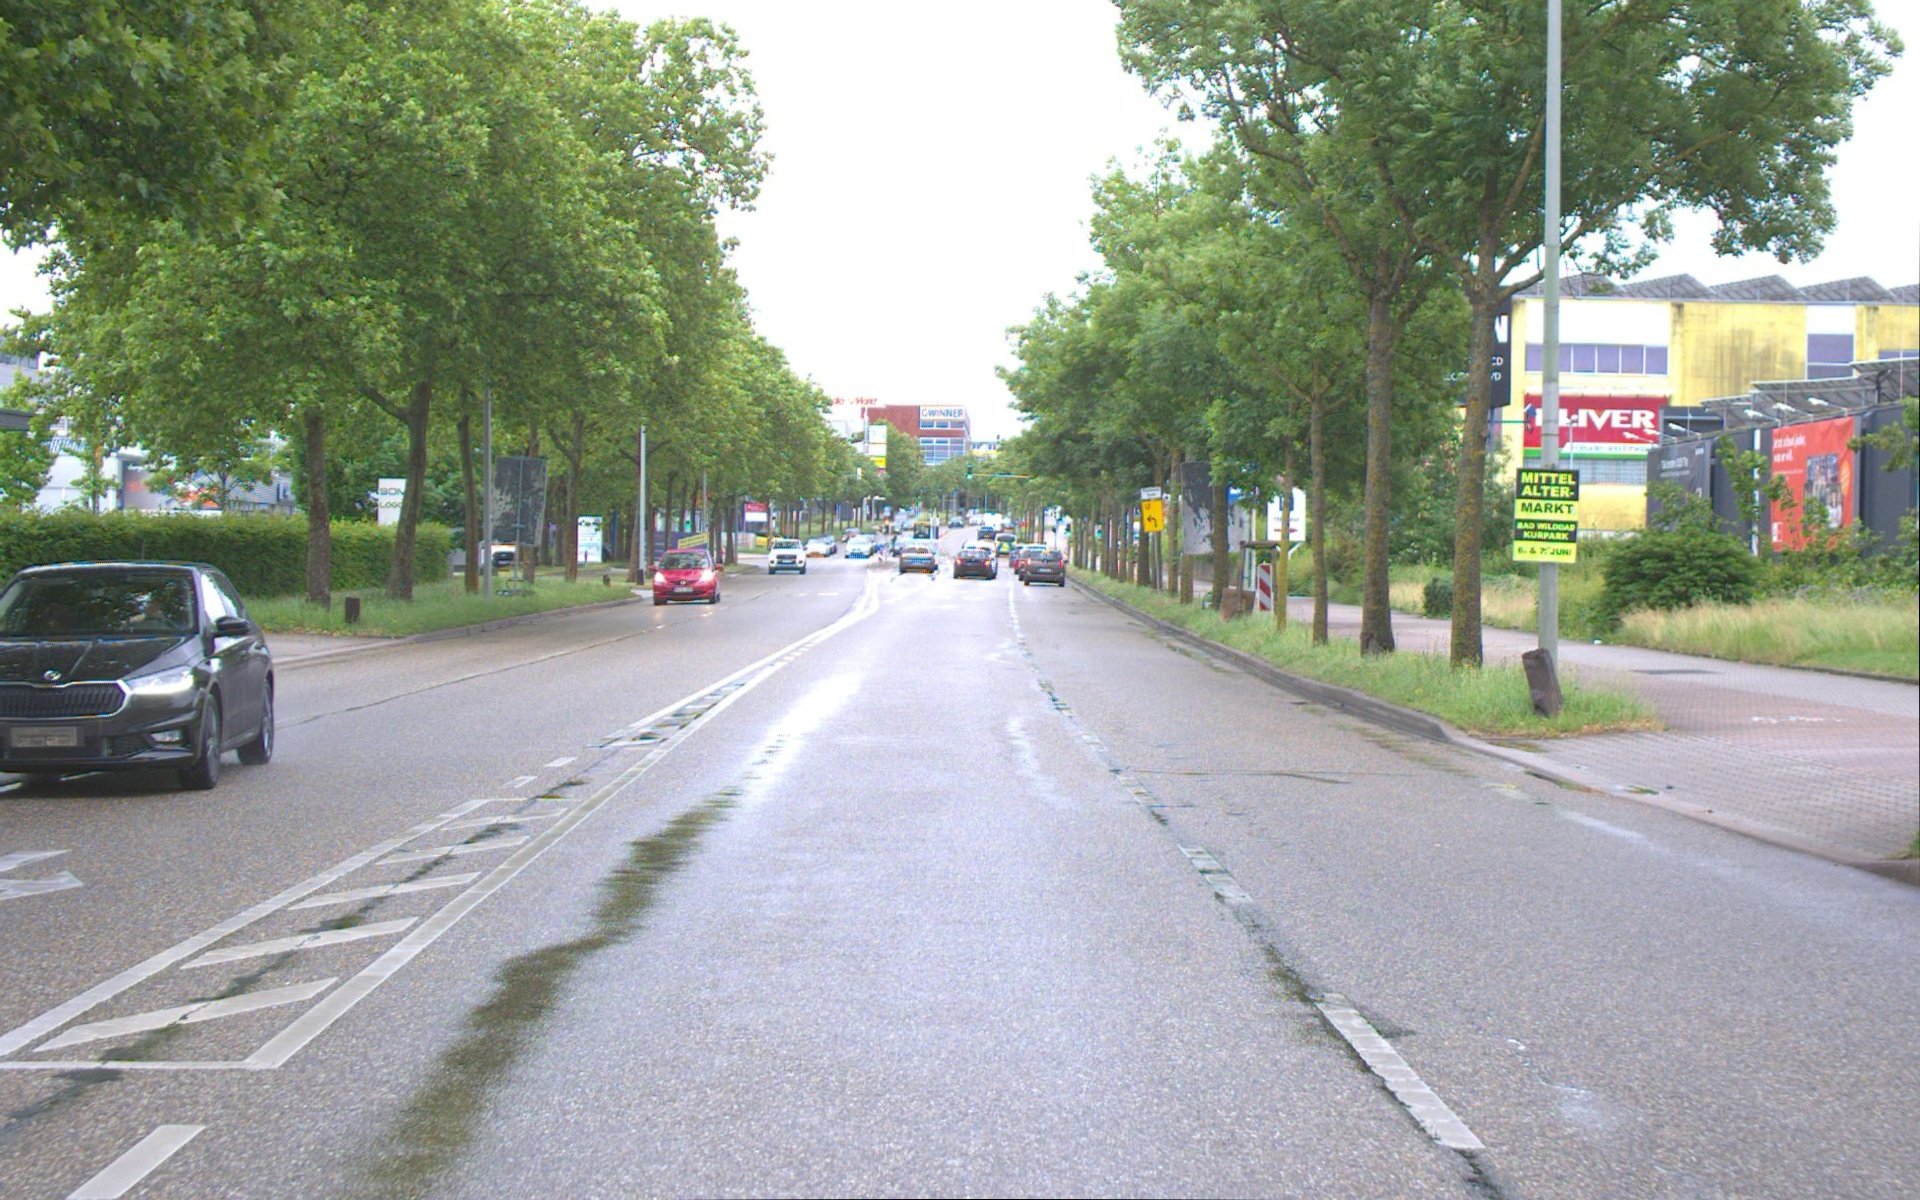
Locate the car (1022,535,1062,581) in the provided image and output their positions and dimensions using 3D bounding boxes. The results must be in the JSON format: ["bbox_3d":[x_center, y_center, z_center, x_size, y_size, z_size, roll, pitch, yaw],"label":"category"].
[{"bbox_3d":[3.637,-1.854,151.942,1.745,2.007,4.000,0,1,2],"label":"car"}]

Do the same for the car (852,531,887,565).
[{"bbox_3d":[-5.334,-3.093,203.667,1.993,2.007,4.000,0,1,0],"label":"car"}]

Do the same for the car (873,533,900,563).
[{"bbox_3d":[-4.980,-3.499,232.334,1.827,2.007,4.000,0,1,-2],"label":"car"}]

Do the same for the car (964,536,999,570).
[{"bbox_3d":[1.153,-2.480,181.137,1.745,1.731,4.000,0,1,2],"label":"car"}]

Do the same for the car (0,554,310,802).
[{"bbox_3d":[-5.491,0.443,22.472,1.804,1.458,3.846,-1,1,-1],"label":"car"}]

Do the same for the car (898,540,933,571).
[{"bbox_3d":[-2.459,-2.464,190.388,1.745,1.695,4.000,0,1,2],"label":"car"}]

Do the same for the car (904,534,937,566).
[{"bbox_3d":[-2.334,-2.987,205.148,1.891,1.870,4.124,0,1,0],"label":"car"}]

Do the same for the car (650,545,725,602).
[{"bbox_3d":[-7.428,-0.736,94.119,1.726,1.512,3.821,0,1,0],"label":"car"}]

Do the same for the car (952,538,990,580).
[{"bbox_3d":[0.543,-1.999,167.667,1.745,2.007,4.000,0,1,2],"label":"car"}]

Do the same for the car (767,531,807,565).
[{"bbox_3d":[-8.941,-2.677,178.067,1.704,1.731,4.000,0,1,3],"label":"car"}]

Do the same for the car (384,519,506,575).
[{"bbox_3d":[-18.022,-1.845,120.396,3.987,1.918,1.826,0,0,1],"label":"car"}]
